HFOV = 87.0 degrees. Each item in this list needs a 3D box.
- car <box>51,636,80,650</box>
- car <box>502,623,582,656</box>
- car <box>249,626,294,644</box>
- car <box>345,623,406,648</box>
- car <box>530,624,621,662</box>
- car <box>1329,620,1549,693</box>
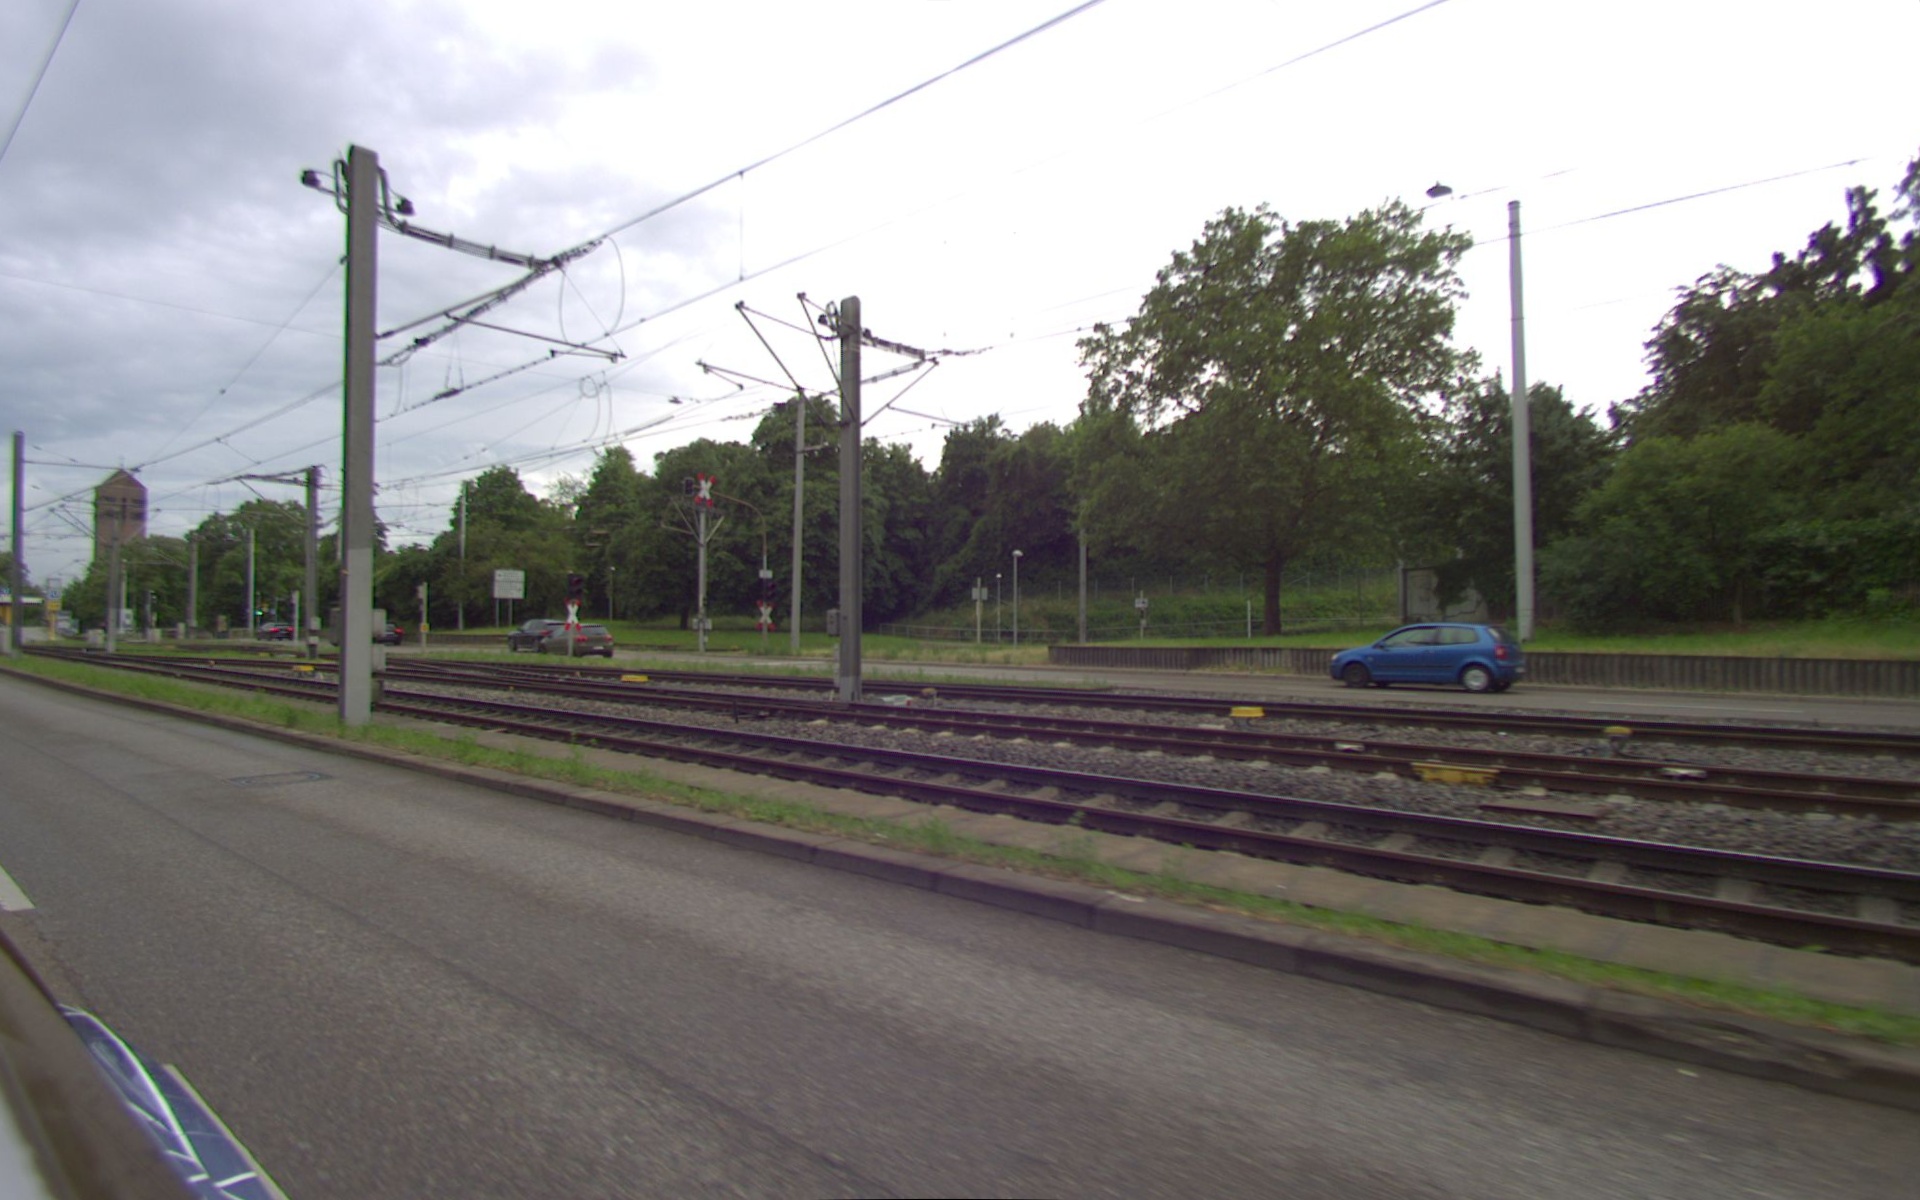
[{"bbox_3d":[-113.761,5.436,128.667,4.859,1.752,2.062,-2,-2,40],"label":"car"},{"bbox_3d":[-21.187,1.980,51.159,4.847,1.607,1.926,-2,-2,43],"label":"car"},{"bbox_3d":[-55.630,2.816,81.770,4.680,1.458,1.907,-2,-2,41],"label":"car"},{"bbox_3d":[-39.136,2.373,67.705,5.158,1.601,2.066,-2,-2,43],"label":"car"},{"bbox_3d":[-16.050,1.753,42.184,4.309,1.498,1.870,-2,-2,44],"label":"car"},{"bbox_3d":[10.136,1.147,21.576,3.901,1.408,1.741,-2,-2,44],"label":"car"}]
